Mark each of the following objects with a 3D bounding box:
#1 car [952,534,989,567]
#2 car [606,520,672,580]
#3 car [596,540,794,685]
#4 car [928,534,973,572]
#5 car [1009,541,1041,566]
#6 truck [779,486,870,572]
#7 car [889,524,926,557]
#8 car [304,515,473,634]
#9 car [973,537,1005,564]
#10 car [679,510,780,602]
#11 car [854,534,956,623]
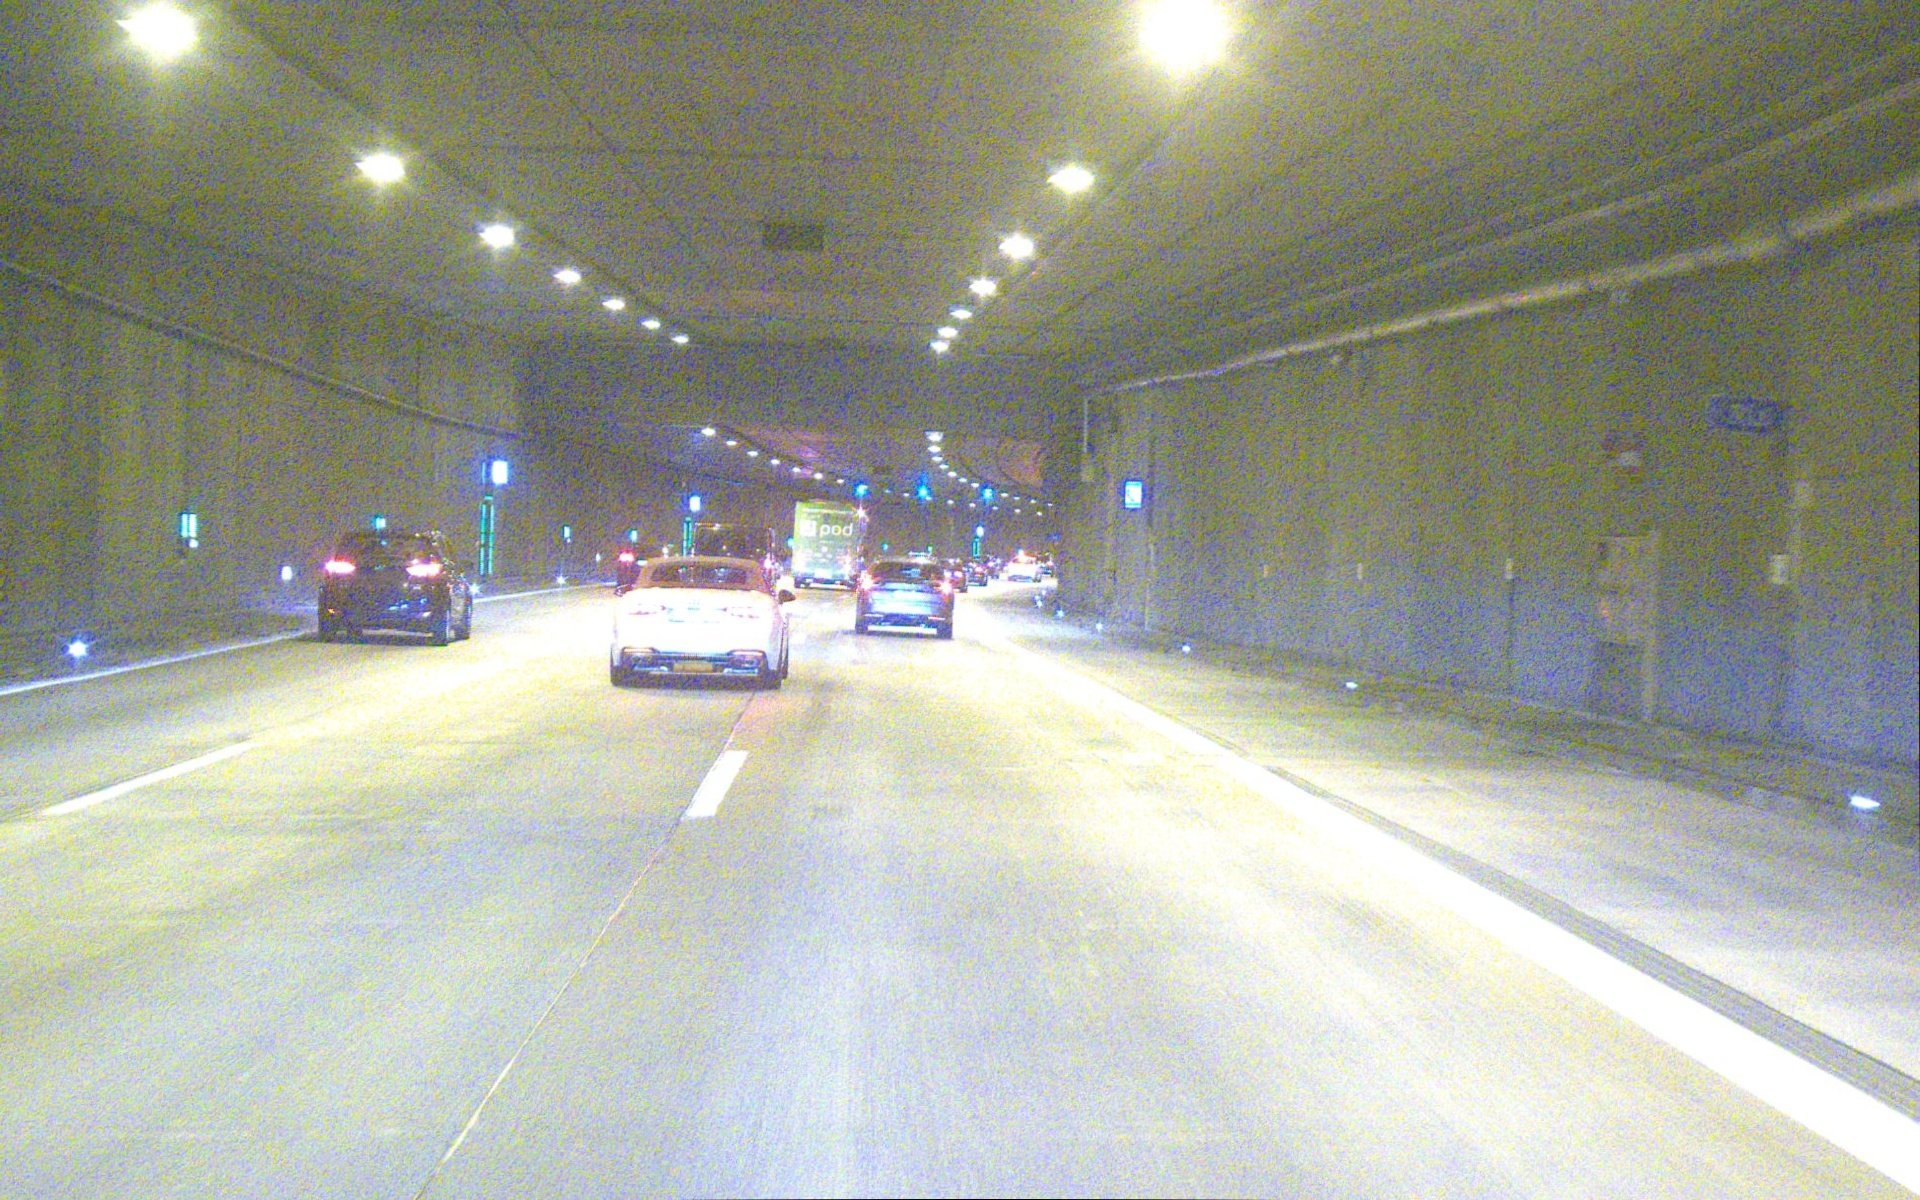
[{"bbox_3d":[0.546,-2.564,177.014,1.858,1.660,4.000,1,1,1],"label":"car"},{"bbox_3d":[-9.343,-1.457,100.246,1.800,1.678,4.001,-1,1,-4],"label":"car"},{"bbox_3d":[-2.831,0.093,37.450,1.993,1.478,4.001,0,1,-2],"label":"car"},{"bbox_3d":[-0.400,-2.029,148.005,1.844,1.562,4.000,1,1,1],"label":"car"},{"bbox_3d":[4.085,-2.928,214.967,1.844,1.546,4.000,1,1,3],"label":"car"},{"bbox_3d":[-5.038,-2.712,129.122,3.082,3.102,10.030,0,2,0],"label":"truck"},{"bbox_3d":[-2.883,-3.253,187.993,1.993,1.748,4.000,0,1,-1],"label":"car"},{"bbox_3d":[-7.930,-0.373,47.959,1.785,1.593,3.801,0,1,-1],"label":"car"},{"bbox_3d":[1.879,-3.195,219.690,1.833,1.685,4.000,1,1,3],"label":"car"},{"bbox_3d":[-5.139,-0.986,77.212,1.993,1.965,4.000,-1,1,-1],"label":"car"},{"bbox_3d":[-1.012,-0.418,63.899,1.839,1.596,4.000,0,1,-1],"label":"car"}]
